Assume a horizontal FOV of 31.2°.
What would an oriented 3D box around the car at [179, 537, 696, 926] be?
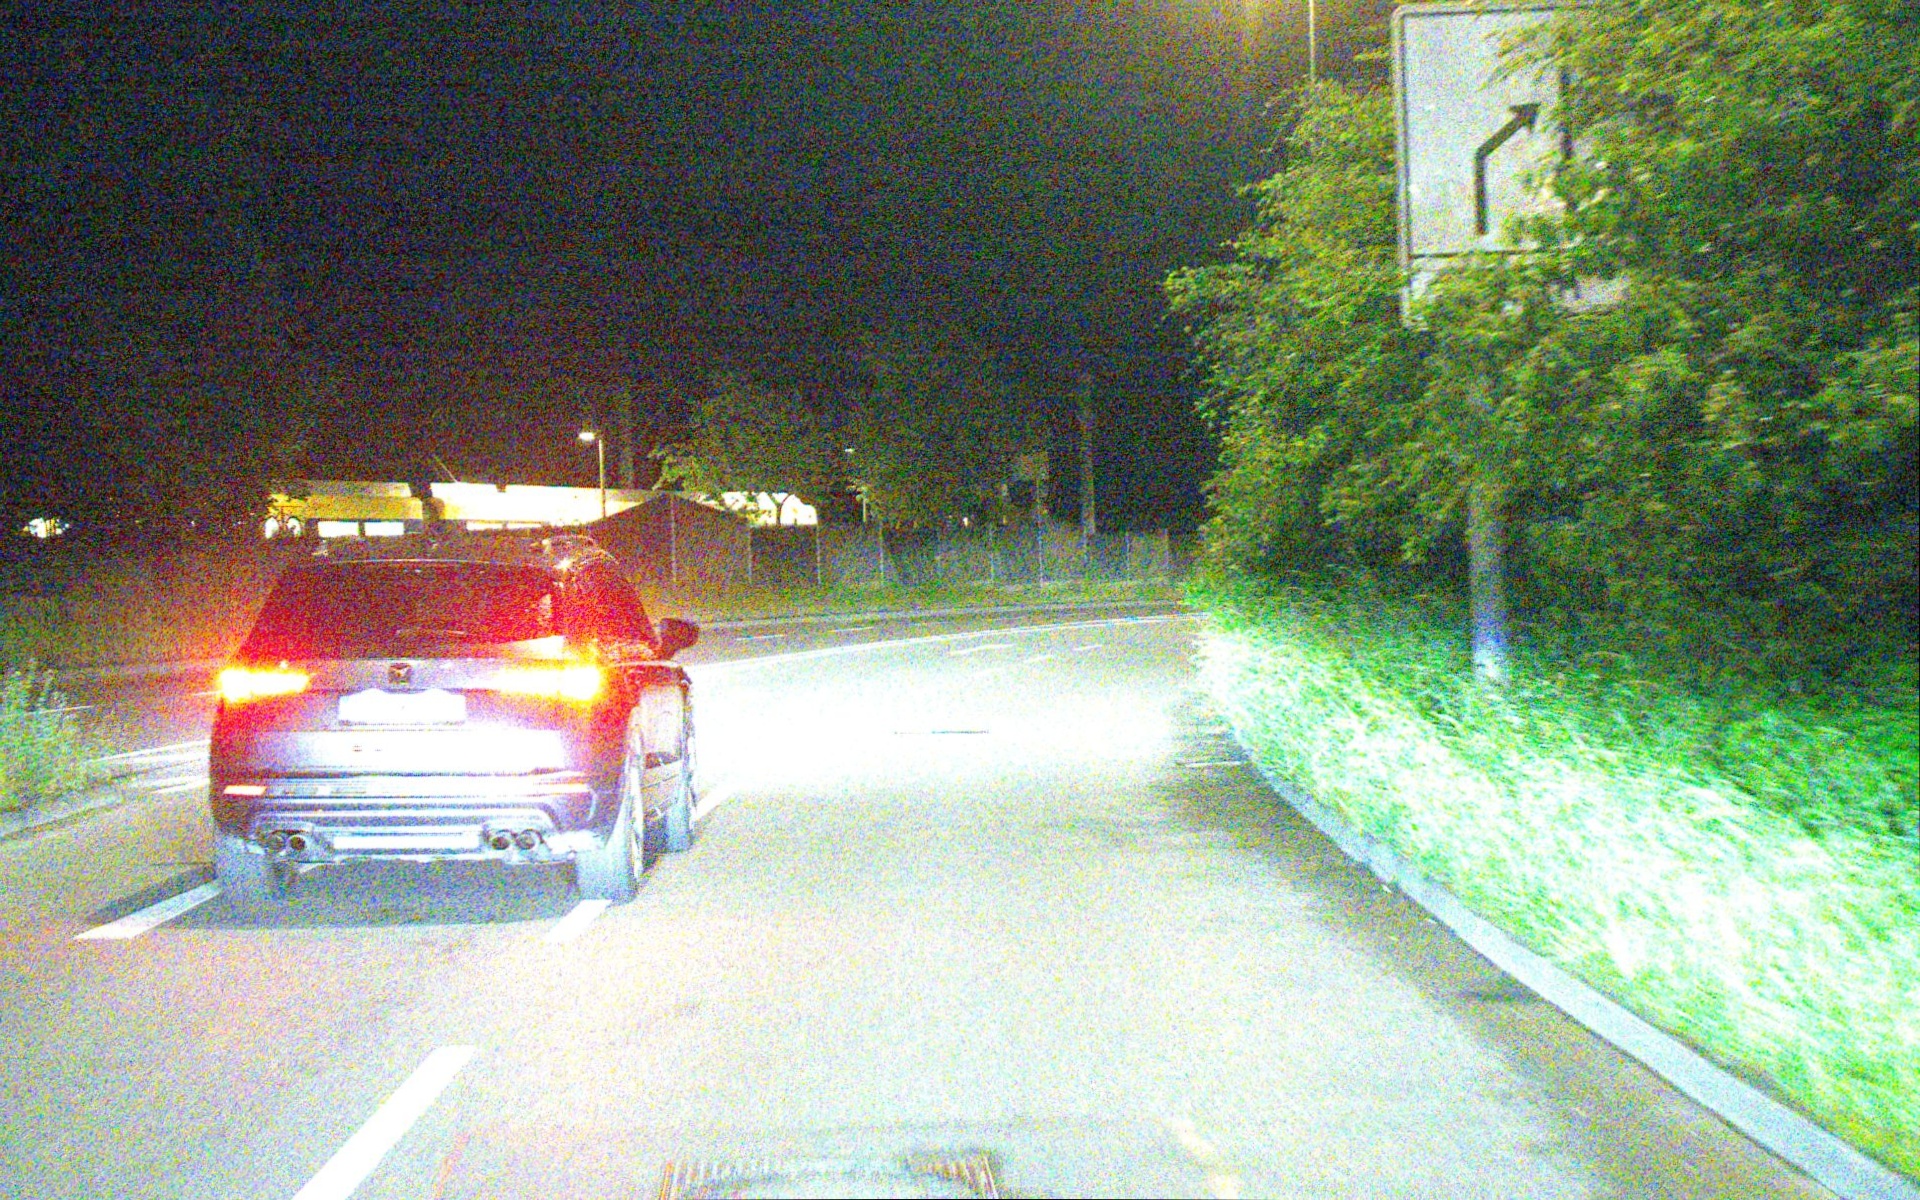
[{"bbox_3d":[-2.272,0.499,15.949,1.852,1.577,4.007,0,1,-1],"label":"car"}]
